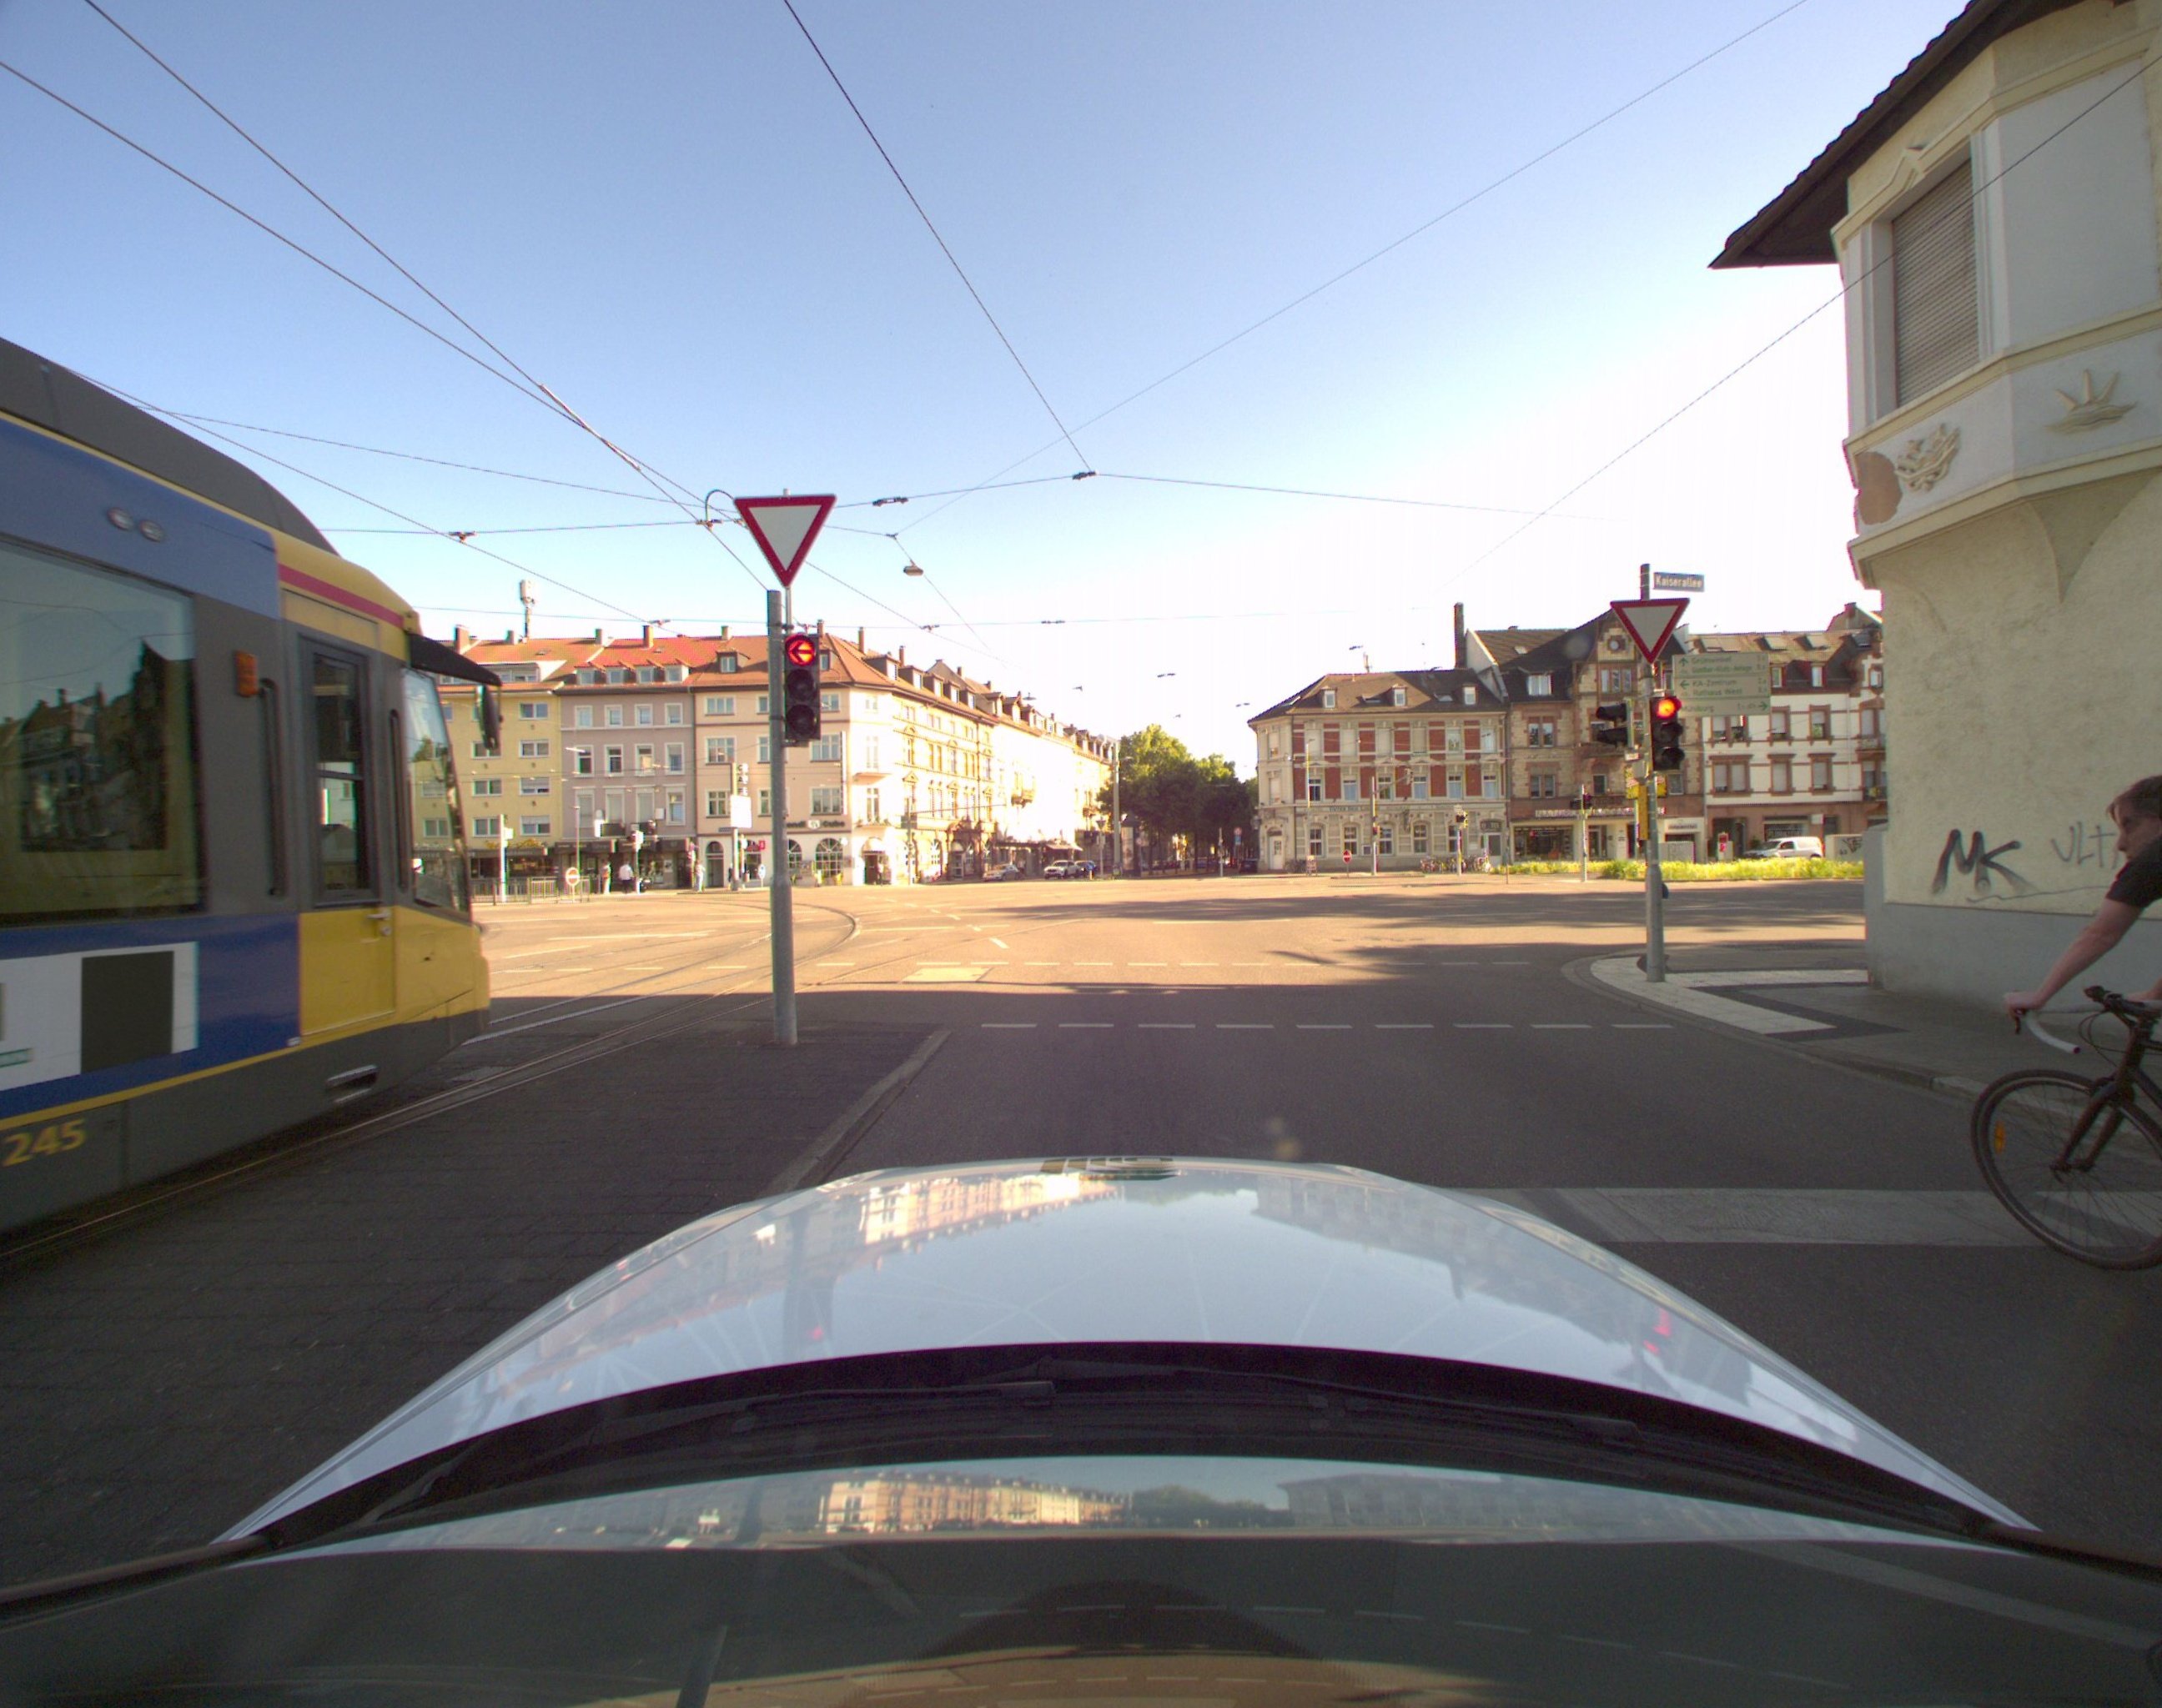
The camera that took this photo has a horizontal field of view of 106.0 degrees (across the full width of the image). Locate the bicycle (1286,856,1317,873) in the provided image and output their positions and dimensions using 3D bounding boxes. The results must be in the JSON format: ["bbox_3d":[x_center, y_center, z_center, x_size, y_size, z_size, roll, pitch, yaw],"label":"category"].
[{"bbox_3d":[15.501,0.730,57.184,2.081,1.124,0.366,0,-1,-3],"label":"bicycle"}]

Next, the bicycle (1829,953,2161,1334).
[{"bbox_3d":[3.619,0.952,2.664,0.642,1.010,1.930,-2,0,4],"label":"bicycle"}]

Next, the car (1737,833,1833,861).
[{"bbox_3d":[45.360,-0.459,52.551,4.317,1.640,2.152,-2,0,1],"label":"car"}]

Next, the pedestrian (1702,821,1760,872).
[{"bbox_3d":[27.116,-0.293,33.995,1.314,2.044,1.307,-1,0,1],"label":"pedestrian"}]

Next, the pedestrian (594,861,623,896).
[{"bbox_3d":[-24.705,1.285,42.607,0.935,1.756,0.935,-1,0,1],"label":"pedestrian"}]

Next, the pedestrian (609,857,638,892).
[{"bbox_3d":[-23.261,1.022,41.416,0.935,1.756,0.935,-1,0,1],"label":"pedestrian"}]

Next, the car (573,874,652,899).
[{"bbox_3d":[-30.619,2.125,53.327,3.974,1.453,2.000,-1,0,-1],"label":"car"}]

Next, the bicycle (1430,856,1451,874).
[{"bbox_3d":[23.280,0.702,52.832,0.615,1.143,2.178,-2,0,7],"label":"bicycle"}]

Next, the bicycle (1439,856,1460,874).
[{"bbox_3d":[23.859,0.683,52.780,0.615,1.143,2.178,-2,0,7],"label":"bicycle"}]

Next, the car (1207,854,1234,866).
[{"bbox_3d":[22.827,0.976,133.297,3.948,1.706,2.013,-2,0,32],"label":"car"}]

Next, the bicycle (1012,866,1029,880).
[{"bbox_3d":[-4.816,1.508,65.288,0.675,1.066,2.133,-2,0,14],"label":"bicycle"}]

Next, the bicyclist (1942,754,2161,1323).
[{"bbox_3d":[3.604,0.565,2.587,0.559,1.754,1.102,-1,0,4],"label":"bicyclist"}]

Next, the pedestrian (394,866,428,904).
[{"bbox_3d":[-26.240,1.198,31.918,0.617,1.454,0.866,-2,0,34],"label":"pedestrian"}]

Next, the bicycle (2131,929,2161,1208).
[{"bbox_3d":[4.539,0.862,2.439,0.516,1.116,1.815,-2,0,4],"label":"bicycle"}]

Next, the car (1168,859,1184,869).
[{"bbox_3d":[15.826,1.723,136.161,1.750,1.549,4.411,-2,0,18],"label":"car"}]

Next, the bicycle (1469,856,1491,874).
[{"bbox_3d":[25.757,0.701,52.594,0.606,1.136,2.139,-2,0,7],"label":"bicycle"}]

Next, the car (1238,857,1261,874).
[{"bbox_3d":[17.014,1.146,82.210,1.978,1.585,4.017,-2,0,16],"label":"car"}]

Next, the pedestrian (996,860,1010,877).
[{"bbox_3d":[-7.323,1.385,76.516,0.921,1.535,1.142,-2,0,16],"label":"pedestrian"}]

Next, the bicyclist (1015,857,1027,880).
[{"bbox_3d":[-4.812,1.127,65.331,0.674,1.820,1.075,-2,0,14],"label":"bicyclist"}]

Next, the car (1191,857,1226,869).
[{"bbox_3d":[18.012,1.308,115.125,4.335,1.612,2.012,-2,0,28],"label":"car"}]

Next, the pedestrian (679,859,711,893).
[{"bbox_3d":[-20.126,1.142,42.455,1.076,1.685,1.104,-1,0,1],"label":"pedestrian"}]

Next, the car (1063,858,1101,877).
[{"bbox_3d":[0.117,1.216,74.009,1.977,1.612,4.413,-2,0,20],"label":"car"}]

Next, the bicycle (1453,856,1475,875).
[{"bbox_3d":[24.780,0.722,52.684,0.615,1.143,2.178,-2,0,7],"label":"bicycle"}]

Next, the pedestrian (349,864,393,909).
[{"bbox_3d":[-27.171,1.222,31.185,0.947,1.655,0.826,-1,0,-6],"label":"pedestrian"}]

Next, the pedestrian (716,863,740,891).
[{"bbox_3d":[-23.003,1.492,53.094,0.998,1.775,0.945,-2,0,16],"label":"pedestrian"}]

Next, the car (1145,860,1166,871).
[{"bbox_3d":[11.251,1.732,122.594,1.977,1.612,4.413,-2,0,20],"label":"car"}]

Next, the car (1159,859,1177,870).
[{"bbox_3d":[13.908,1.702,130.326,1.822,1.552,4.412,-2,0,19],"label":"car"}]

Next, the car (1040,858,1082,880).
[{"bbox_3d":[-1.608,1.248,67.531,1.977,1.684,4.413,-2,0,20],"label":"car"}]

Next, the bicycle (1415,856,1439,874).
[{"bbox_3d":[22.501,0.711,52.981,0.802,1.143,2.178,-2,0,7],"label":"bicycle"}]

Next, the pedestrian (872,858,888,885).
[{"bbox_3d":[-13.619,1.186,55.183,1.047,1.744,0.805,-1,0,-13],"label":"pedestrian"}]

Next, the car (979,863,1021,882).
[{"bbox_3d":[-6.683,1.517,67.374,1.883,1.455,4.020,-2,0,20],"label":"car"}]
